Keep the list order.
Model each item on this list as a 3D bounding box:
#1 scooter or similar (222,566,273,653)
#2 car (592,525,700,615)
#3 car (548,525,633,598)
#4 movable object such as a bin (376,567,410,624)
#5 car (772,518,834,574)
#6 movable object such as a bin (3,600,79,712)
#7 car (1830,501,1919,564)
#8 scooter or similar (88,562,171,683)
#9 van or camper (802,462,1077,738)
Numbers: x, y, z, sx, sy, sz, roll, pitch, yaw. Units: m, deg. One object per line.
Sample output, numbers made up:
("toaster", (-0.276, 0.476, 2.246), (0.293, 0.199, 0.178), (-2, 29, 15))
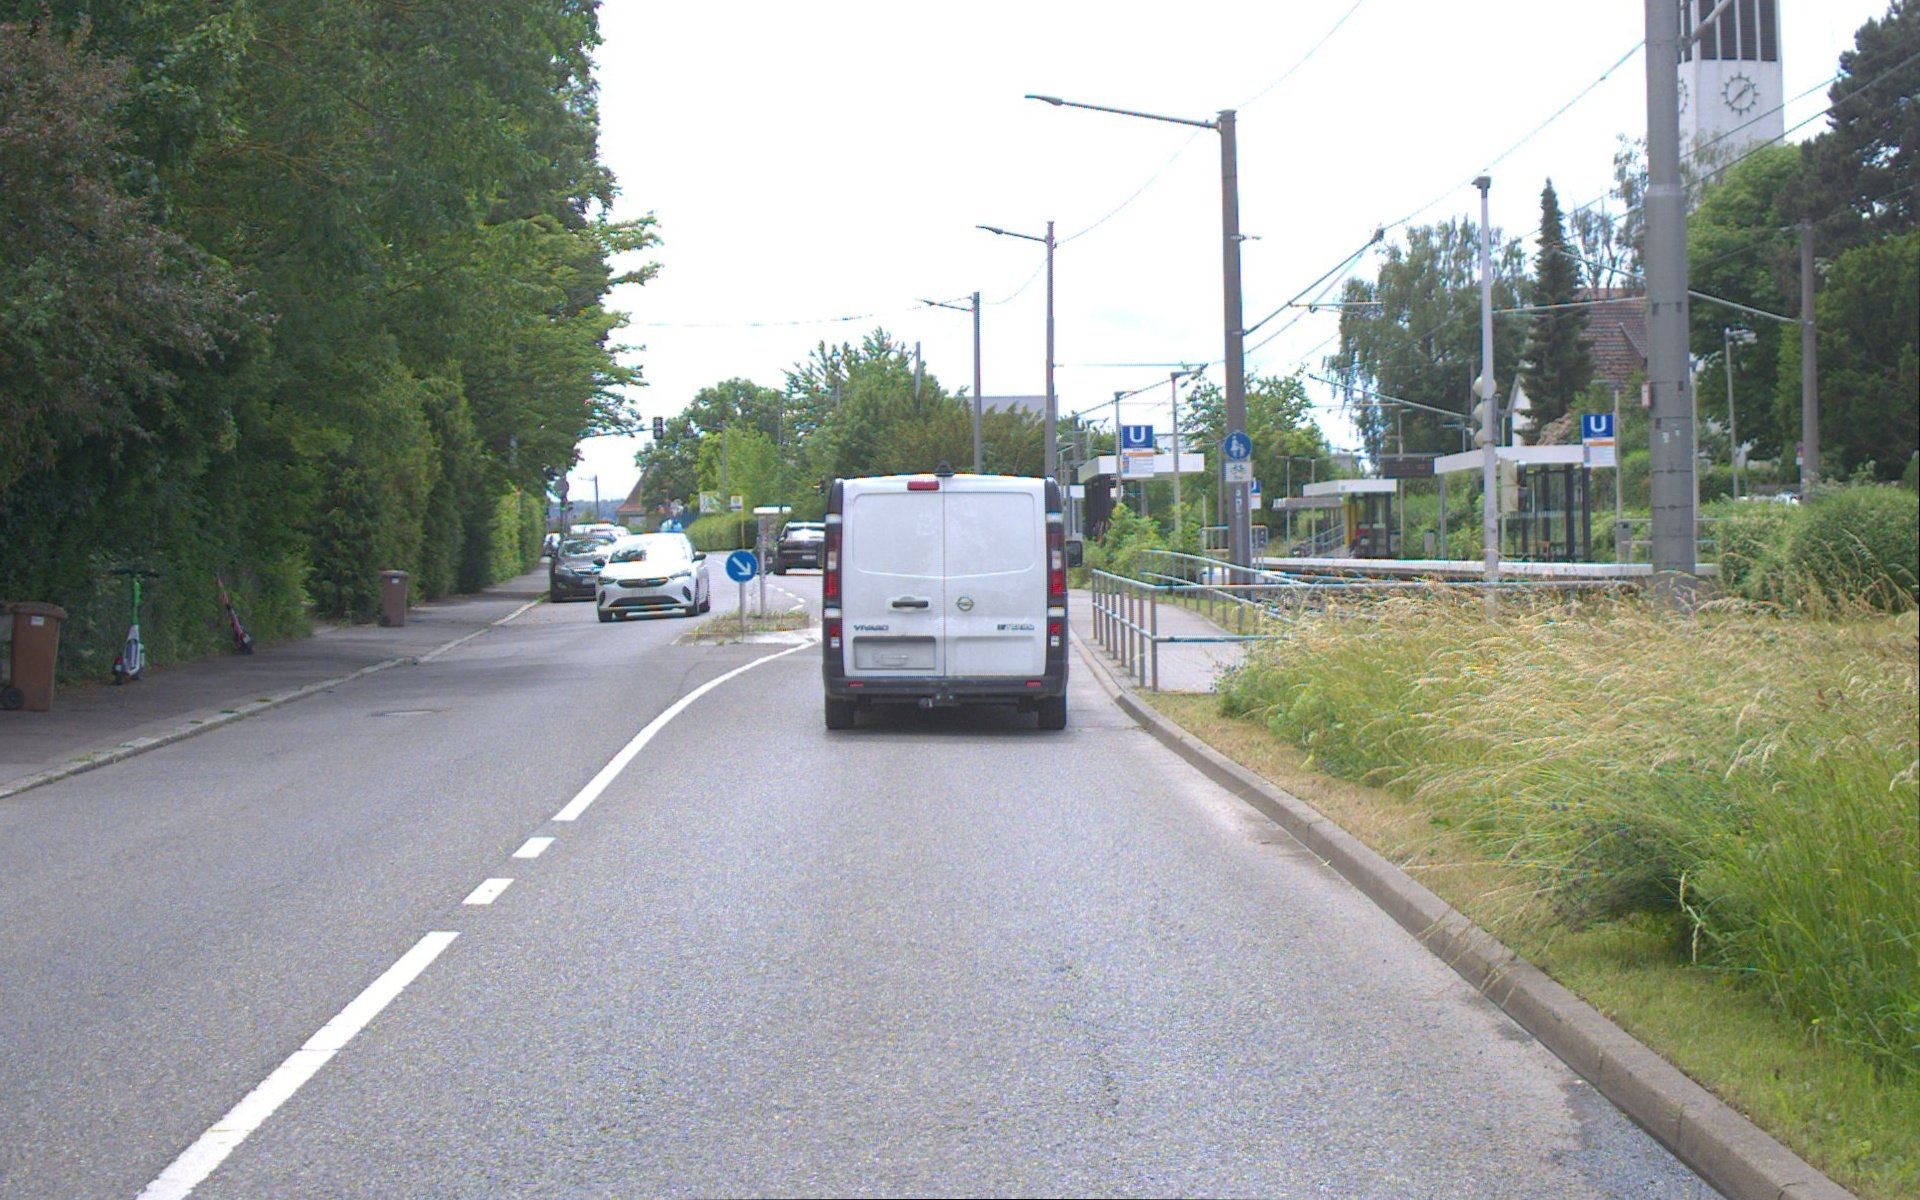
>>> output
("scooter or similar", (-8.997, 0.112, 43.391), (0.477, 1.077, 1.214), (0, 1, -19))
("car", (-5.395, -0.533, 59.452), (1.693, 1.425, 3.787), (-3, 1, -4))
("car", (-8.201, -0.871, 76.268), (1.736, 1.499, 4.479), (-3, 2, -6))
("movable object such as a bin", (-9.414, -0.071, 57.063), (0.462, 0.927, 0.430), (3, 0, -17))
("car", (-4.804, -1.666, 105.307), (1.852, 1.642, 3.735), (-1, 1, -2))
("movable object such as a bin", (-7.927, 0.480, 29.667), (0.513, 0.942, 0.568), (0, 1, 0))
("car", (23.288, -1.705, 86.366), (1.883, 1.517, 4.000), (-1, 1, 1))
("scooter or similar", (-8.484, 0.216, 35.150), (0.408, 1.195, 1.639), (-1, 1, 1))
("van or camper", (-0.131, -0.027, 27.407), (1.993, 2.007, 4.446), (1, 1, 0))
